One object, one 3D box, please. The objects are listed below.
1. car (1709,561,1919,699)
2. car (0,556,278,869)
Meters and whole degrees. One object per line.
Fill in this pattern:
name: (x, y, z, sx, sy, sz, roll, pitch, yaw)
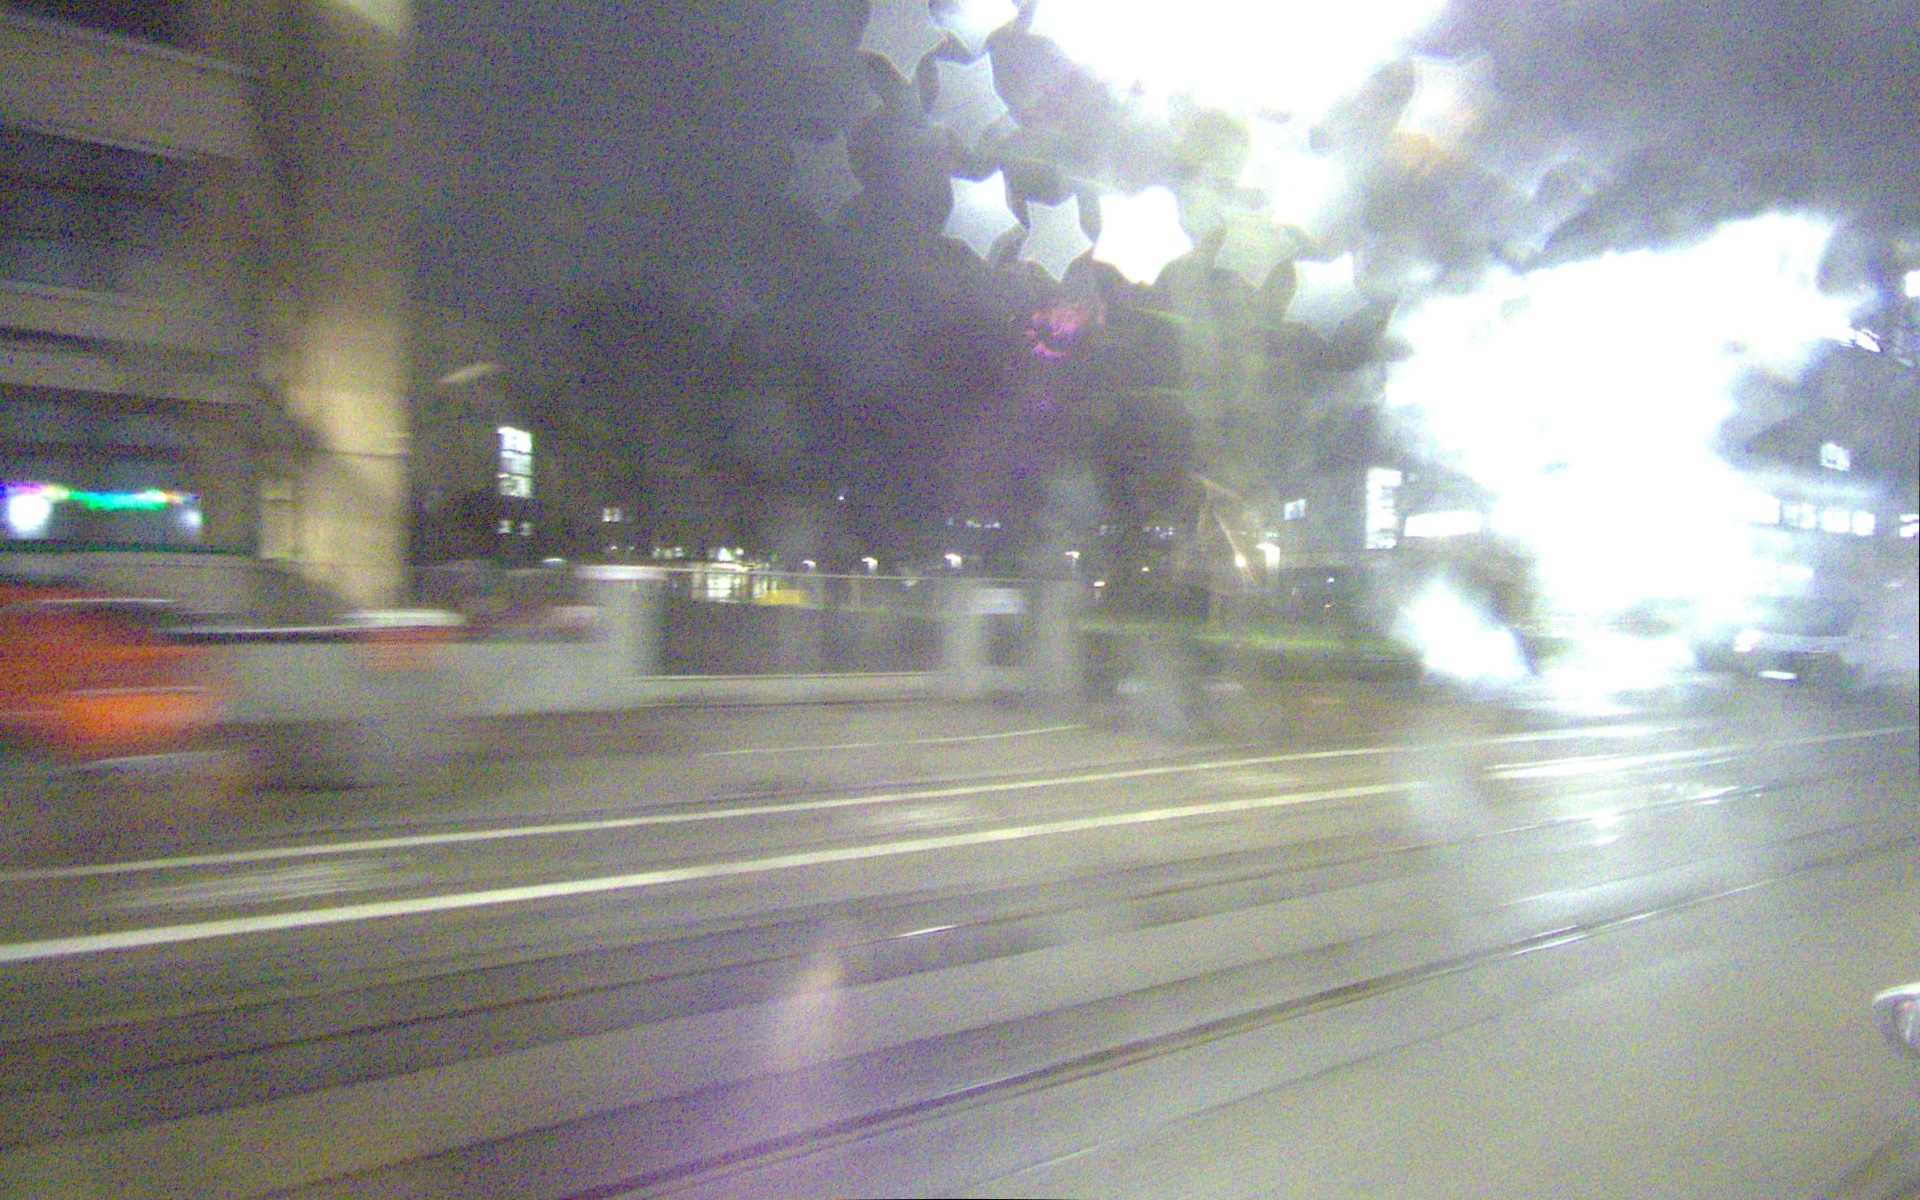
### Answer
car: (19.103, 0.592, 21.710, 6.312, 2.626, 2.176, 1, 1, -28)
car: (-6.807, 0.568, 5.788, 4.545, 1.678, 1.960, 2, 2, -29)
